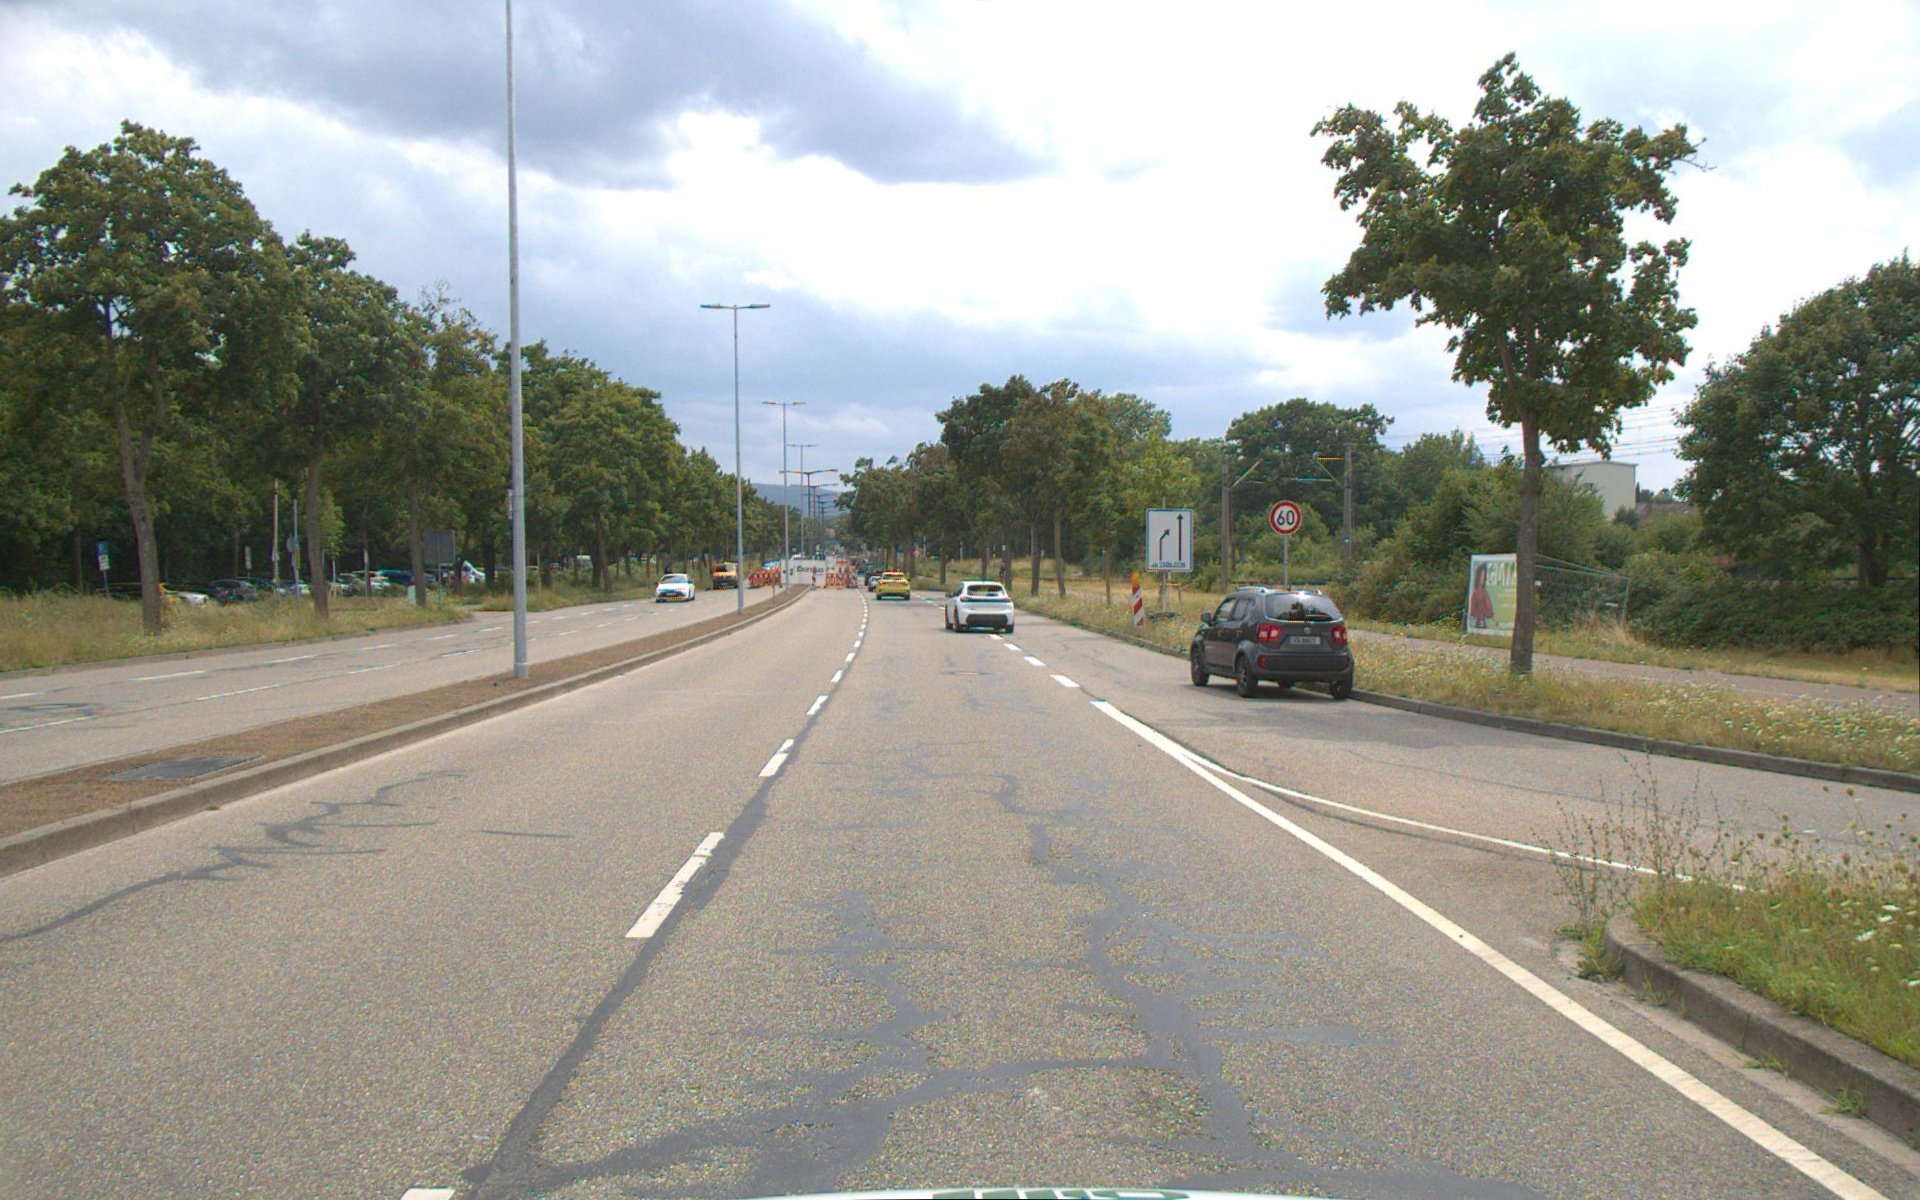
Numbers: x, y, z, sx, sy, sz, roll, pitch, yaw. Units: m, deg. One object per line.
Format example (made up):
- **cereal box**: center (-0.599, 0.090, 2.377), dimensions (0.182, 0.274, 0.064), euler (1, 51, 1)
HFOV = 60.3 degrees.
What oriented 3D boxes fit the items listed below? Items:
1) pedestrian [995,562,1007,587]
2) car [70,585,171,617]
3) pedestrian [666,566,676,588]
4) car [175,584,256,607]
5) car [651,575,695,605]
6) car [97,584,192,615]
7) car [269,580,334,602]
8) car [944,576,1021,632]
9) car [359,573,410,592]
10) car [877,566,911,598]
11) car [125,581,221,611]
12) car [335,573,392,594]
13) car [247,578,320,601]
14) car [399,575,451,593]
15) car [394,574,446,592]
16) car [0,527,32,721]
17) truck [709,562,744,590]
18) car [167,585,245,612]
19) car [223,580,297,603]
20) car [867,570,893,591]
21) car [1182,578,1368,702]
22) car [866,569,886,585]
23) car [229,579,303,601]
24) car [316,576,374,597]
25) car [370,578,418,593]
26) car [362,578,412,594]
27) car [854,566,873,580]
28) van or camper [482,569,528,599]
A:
- **pedestrian**: center (2.922, -1.804, 117.436), dimensions (0.677, 1.724, 0.932), euler (0, 1, -8)
- **car**: center (-41.202, 0.032, 81.252), dimensions (3.906, 1.474, 2.000), euler (0, 2, -1)
- **pedestrian**: center (-25.522, -2.021, 145.906), dimensions (0.682, 1.870, 0.646), euler (-1, 2, -25)
- **car**: center (-42.712, -0.277, 94.990), dimensions (3.907, 1.281, 1.563), euler (0, 2, -3)
- **car**: center (-15.117, -0.552, 87.245), dimensions (1.682, 1.444, 4.159), euler (-2, 2, -2)
- **car**: center (-41.340, -0.039, 83.927), dimensions (3.906, 1.524, 1.785), euler (0, 2, -2)
- **car**: center (-43.624, -0.617, 109.566), dimensions (3.572, 1.384, 1.708), euler (0, 2, -1)
- **car**: center (0.620, 0.076, 48.382), dimensions (1.733, 1.489, 3.995), euler (0, 2, -7)
- **car**: center (-44.900, -1.368, 129.009), dimensions (3.478, 1.436, 1.321), euler (0, 2, -1)
- **car**: center (-3.508, -0.969, 88.329), dimensions (1.757, 1.589, 3.999), euler (0, 2, -2)
- **car**: center (-41.221, -0.211, 86.695), dimensions (4.096, 1.524, 1.885), euler (0, 2, -2)
- **car**: center (-44.822, -1.244, 124.272), dimensions (3.575, 1.545, 1.882), euler (0, 2, -1)
- **car**: center (-43.961, -0.678, 107.508), dimensions (3.904, 1.435, 2.001), euler (0, 2, 1)
- **car**: center (-44.627, -1.348, 137.964), dimensions (3.656, 1.433, 1.999), euler (0, 2, -3)
- **car**: center (-45.767, -1.415, 140.239), dimensions (3.696, 1.450, 1.966), euler (0, 2, -1)
- **car**: center (-11.986, 0.352, 16.652), dimensions (2.053, 2.239, 6.001), euler (-2, 1, -3)
- **truck**: center (-17.907, -1.855, 126.876), dimensions (2.047, 2.029, 6.037), euler (-2, 2, -3)
- **car**: center (-41.566, -0.085, 91.275), dimensions (3.575, 1.436, 1.517), euler (0, 2, -1)
- **car**: center (-43.436, -0.545, 102.685), dimensions (3.906, 1.384, 1.667), euler (0, 2, -1)
- **car**: center (-5.199, -1.266, 108.133), dimensions (1.633, 1.292, 3.999), euler (0, 2, -2)
- **car**: center (4.748, 0.543, 25.478), dimensions (1.671, 1.697, 3.995), euler (1, 1, -7)
- **car**: center (-7.028, -1.960, 138.856), dimensions (1.633, 1.292, 3.999), euler (0, 2, -2)
- **car**: center (-44.068, -0.647, 105.085), dimensions (3.906, 1.384, 1.822), euler (0, 2, -1)
- **car**: center (-44.366, -0.998, 119.317), dimensions (3.575, 1.436, 1.517), euler (0, 2, -1)
- **car**: center (-44.811, -1.171, 131.074), dimensions (3.299, 1.113, 1.441), euler (0, 2, -2)
- **car**: center (-44.317, -1.070, 127.938), dimensions (3.299, 1.148, 1.441), euler (0, 2, -2)
- **car**: center (-12.427, -3.441, 213.220), dimensions (2.161, 1.713, 4.000), euler (0, 2, -1)
- **van or camper**: center (-43.111, -1.521, 156.812), dimensions (3.908, 2.804, 1.925), euler (0, 1, -4)
